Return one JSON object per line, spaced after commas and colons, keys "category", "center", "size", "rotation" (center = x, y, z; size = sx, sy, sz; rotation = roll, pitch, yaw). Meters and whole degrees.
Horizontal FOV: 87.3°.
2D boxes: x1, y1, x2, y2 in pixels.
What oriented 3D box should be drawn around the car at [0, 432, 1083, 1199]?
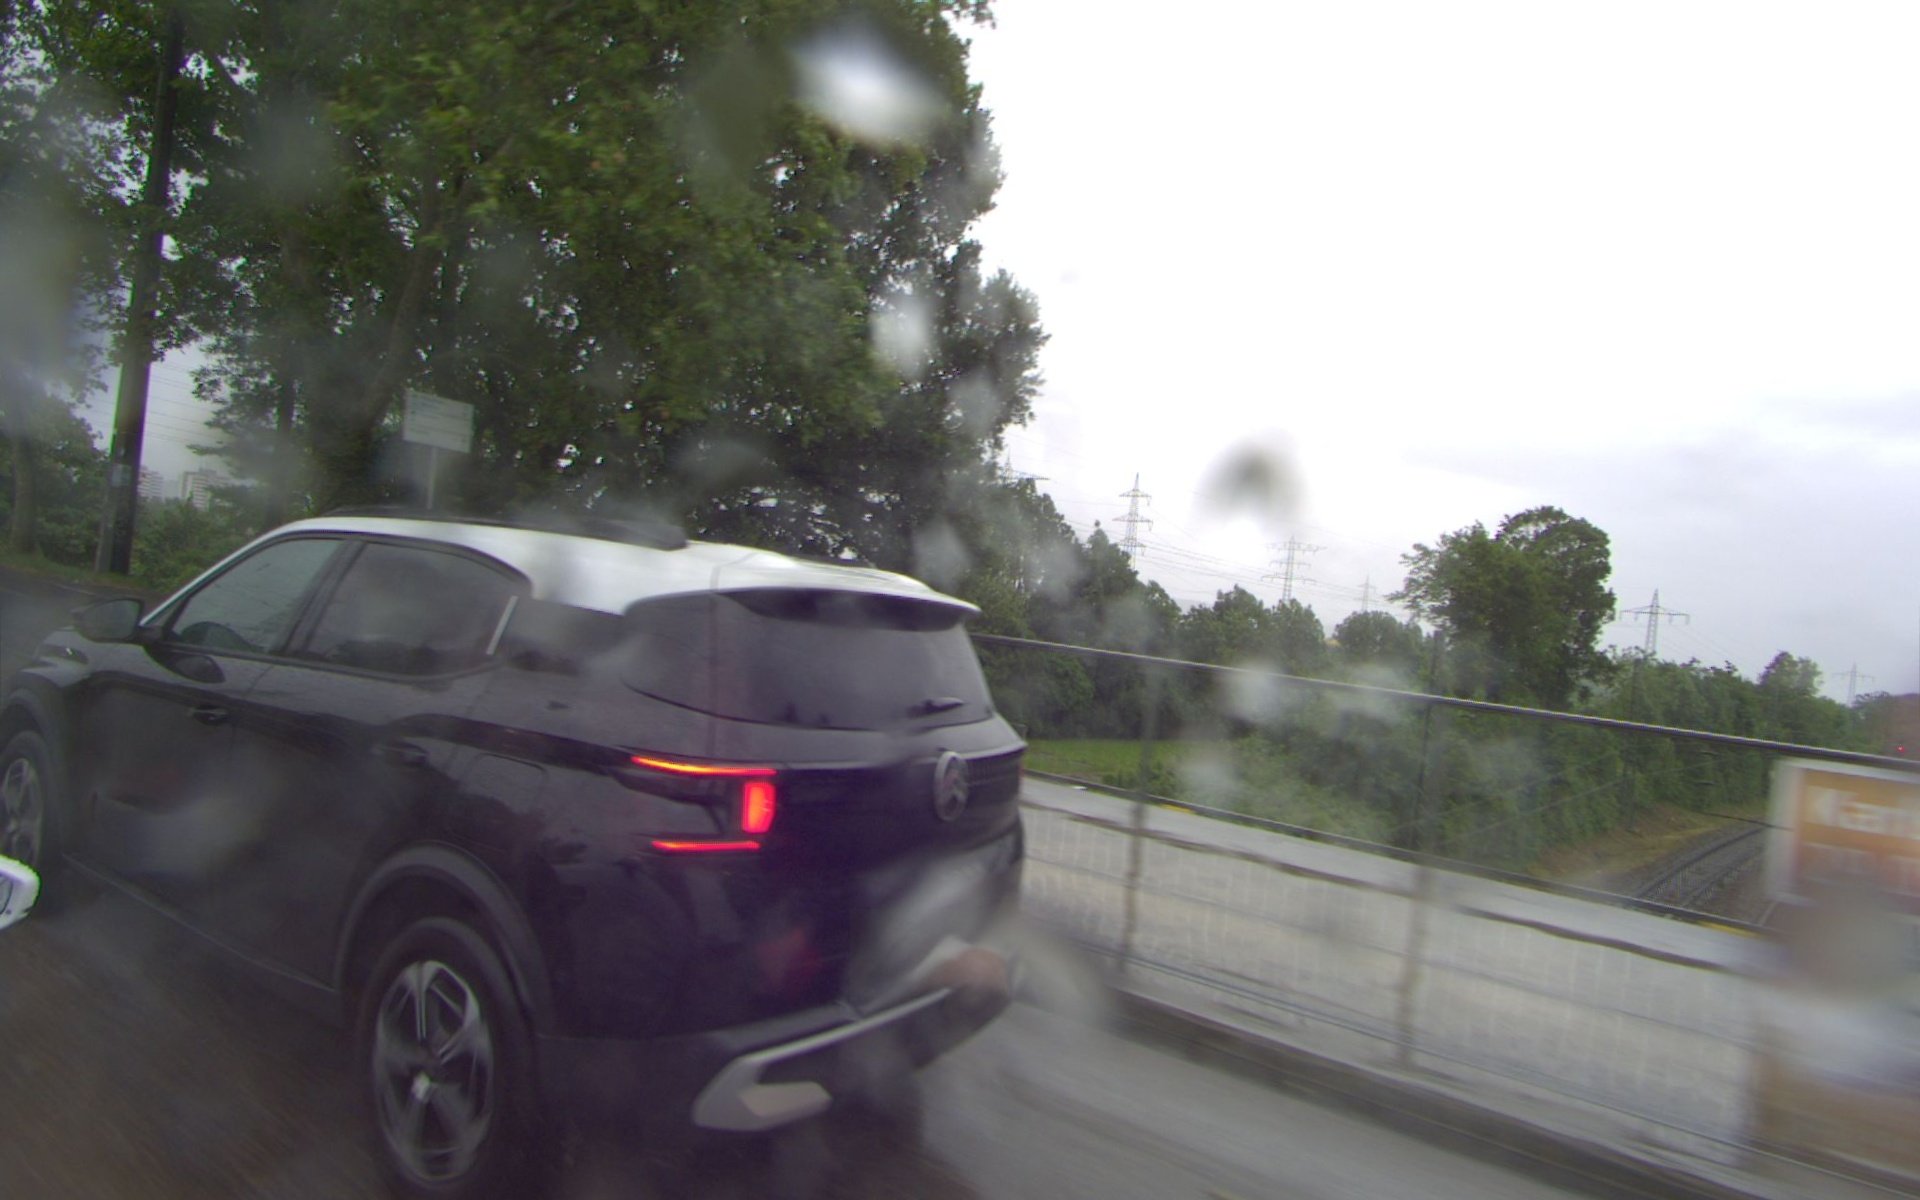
{"category": "car", "center": [-2.131, 0.473, 3.900], "size": [4.646, 1.737, 1.903], "rotation": [8, -1, 31]}
